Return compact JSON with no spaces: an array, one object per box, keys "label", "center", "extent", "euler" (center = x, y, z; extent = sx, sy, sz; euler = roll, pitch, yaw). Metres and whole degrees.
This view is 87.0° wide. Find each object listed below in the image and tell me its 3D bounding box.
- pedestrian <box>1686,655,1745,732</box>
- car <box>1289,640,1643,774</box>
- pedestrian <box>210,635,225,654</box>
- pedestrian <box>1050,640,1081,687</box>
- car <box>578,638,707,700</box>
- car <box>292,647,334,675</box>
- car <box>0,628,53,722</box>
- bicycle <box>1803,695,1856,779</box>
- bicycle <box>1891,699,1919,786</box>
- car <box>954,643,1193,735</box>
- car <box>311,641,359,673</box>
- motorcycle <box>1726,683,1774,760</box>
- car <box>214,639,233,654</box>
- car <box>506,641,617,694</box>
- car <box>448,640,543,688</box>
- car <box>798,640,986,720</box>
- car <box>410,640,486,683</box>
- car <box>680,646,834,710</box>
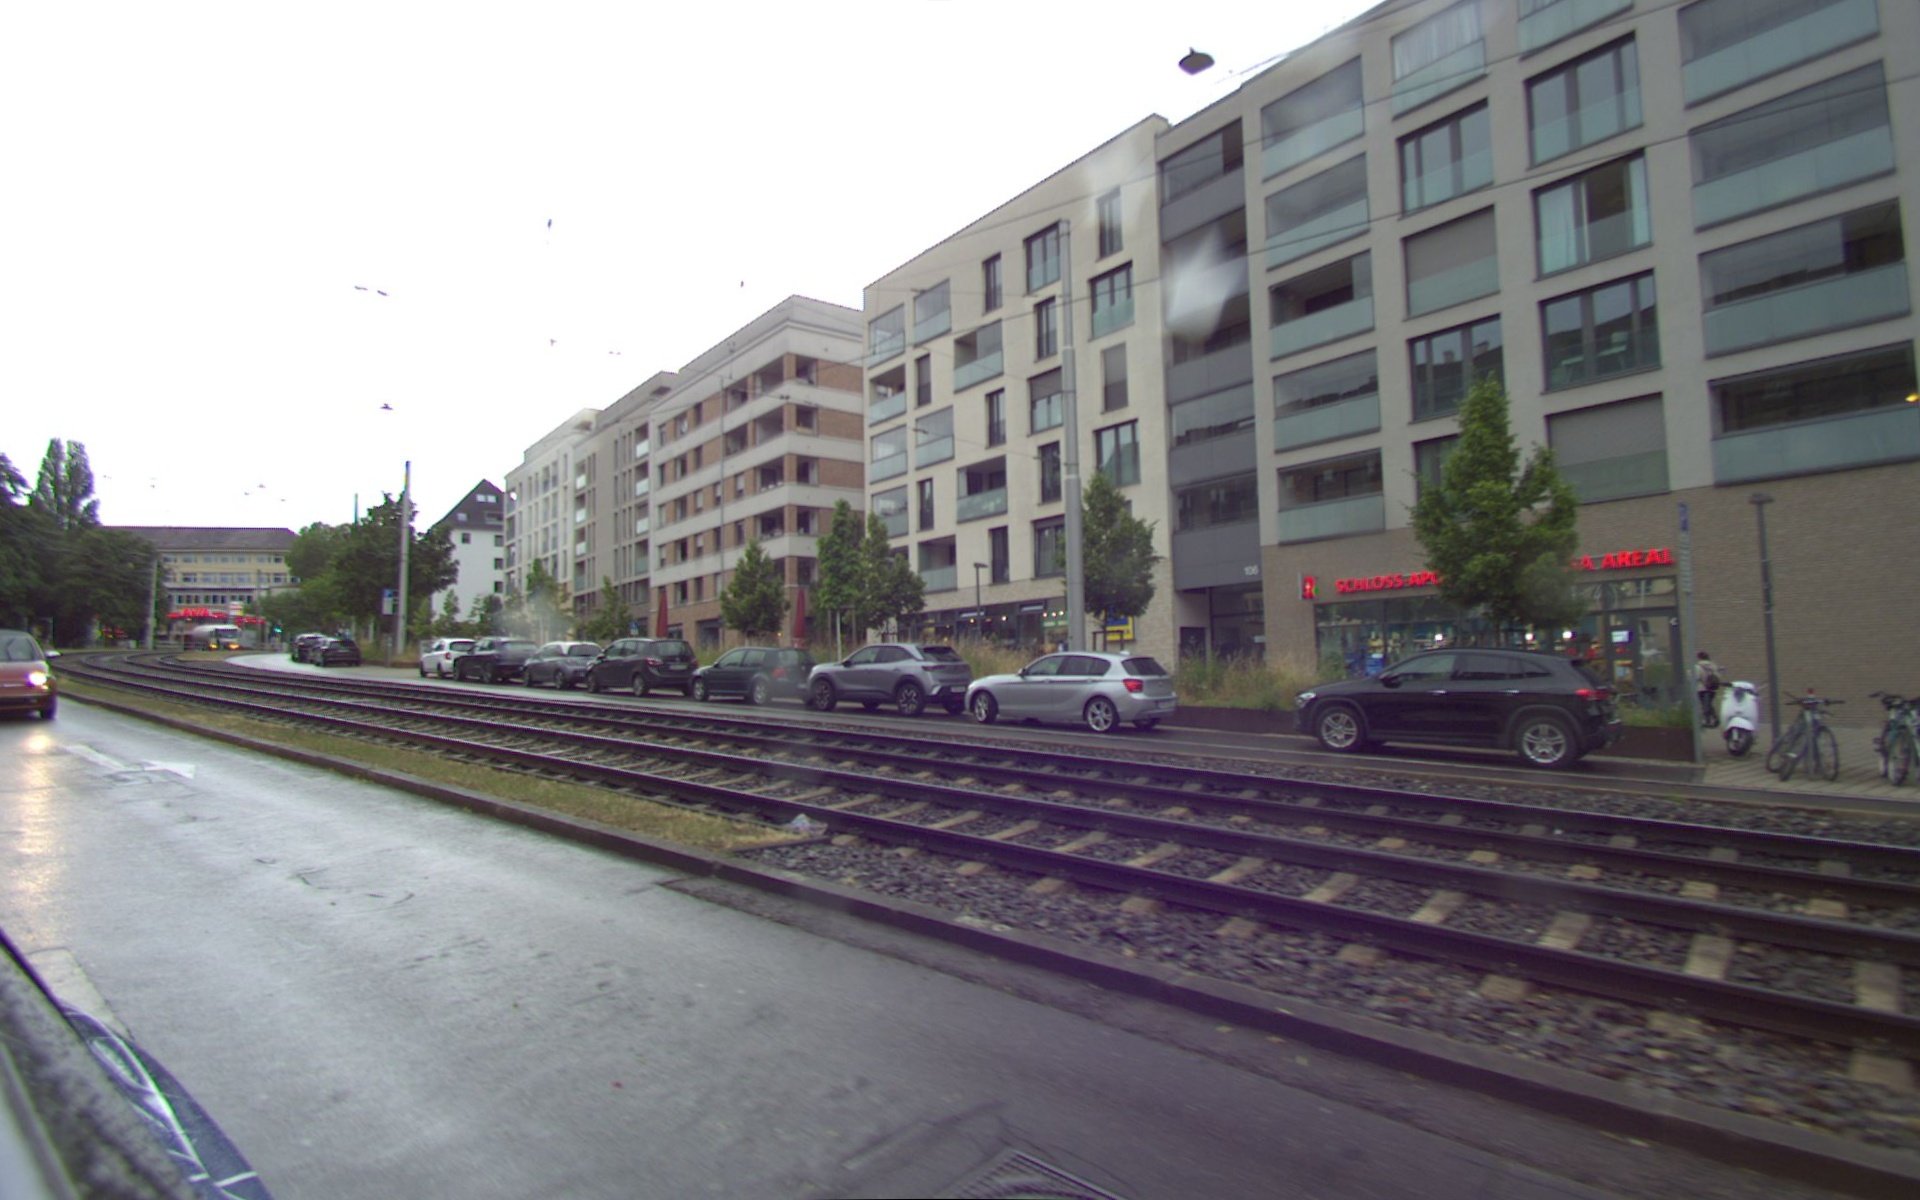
[{"label":"pedestrian","center":[15.113,1.854,20.253],"extent":[0.532,1.460,0.805],"euler":[0,-1,-36]},{"label":"car","center":[7.211,1.419,14.701],"extent":[4.327,1.616,1.662],"euler":[-1,-2,41]},{"label":"pedestrian","center":[-73.873,4.430,100.654],"extent":[0.805,1.777,0.750],"euler":[3,-5,-9]},{"label":"pedestrian","center":[3.459,2.070,33.181],"extent":[0.647,1.460,0.805],"euler":[0,-1,-36]},{"label":"car","center":[-8.963,1.895,28.469],"extent":[3.926,1.575,1.662],"euler":[-1,-2,41]},{"label":"car","center":[-38.008,3.538,59.385],"extent":[1.630,1.475,3.676],"euler":[0,-1,-40]},{"label":"car","center":[-16.937,1.251,17.397],"extent":[3.668,1.475,1.573],"euler":[-1,-1,41]},{"label":"bicycle","center":[11.267,1.744,13.143],"extent":[0.387,0.925,1.767],"euler":[-1,-2,37]},{"label":"bicycle","center":[11.896,1.741,12.500],"extent":[0.387,0.925,1.767],"euler":[-1,-2,37]},{"label":"car","center":[2.048,1.591,19.119],"extent":[4.327,1.475,1.662],"euler":[-1,-2,41]},{"label":"car","center":[-32.728,2.946,52.972],"extent":[1.630,1.475,3.676],"euler":[0,-1,-40]},{"label":"motorcycle","center":[11.924,1.799,15.282],"extent":[0.542,1.050,1.742],"euler":[1,-3,38]},{"label":"car","center":[-85.471,5.418,117.494],"extent":[1.641,1.619,3.818],"euler":[0,-1,-33]},{"label":"car","center":[-12.705,2.093,32.206],"extent":[3.926,1.516,1.662],"euler":[-1,-2,41]},{"label":"car","center":[-16.335,2.206,35.476],"extent":[1.660,1.516,4.408],"euler":[1,-2,-44]},{"label":"car","center":[-1.544,1.690,22.307],"extent":[4.043,1.541,1.664],"euler":[-1,-2,37]},{"label":"car","center":[-19.807,2.341,39.105],"extent":[1.626,1.516,3.784],"euler":[1,-2,-43]},{"label":"car","center":[-5.138,1.891,25.351],"extent":[4.031,1.391,1.662],"euler":[-1,-2,41]}]
